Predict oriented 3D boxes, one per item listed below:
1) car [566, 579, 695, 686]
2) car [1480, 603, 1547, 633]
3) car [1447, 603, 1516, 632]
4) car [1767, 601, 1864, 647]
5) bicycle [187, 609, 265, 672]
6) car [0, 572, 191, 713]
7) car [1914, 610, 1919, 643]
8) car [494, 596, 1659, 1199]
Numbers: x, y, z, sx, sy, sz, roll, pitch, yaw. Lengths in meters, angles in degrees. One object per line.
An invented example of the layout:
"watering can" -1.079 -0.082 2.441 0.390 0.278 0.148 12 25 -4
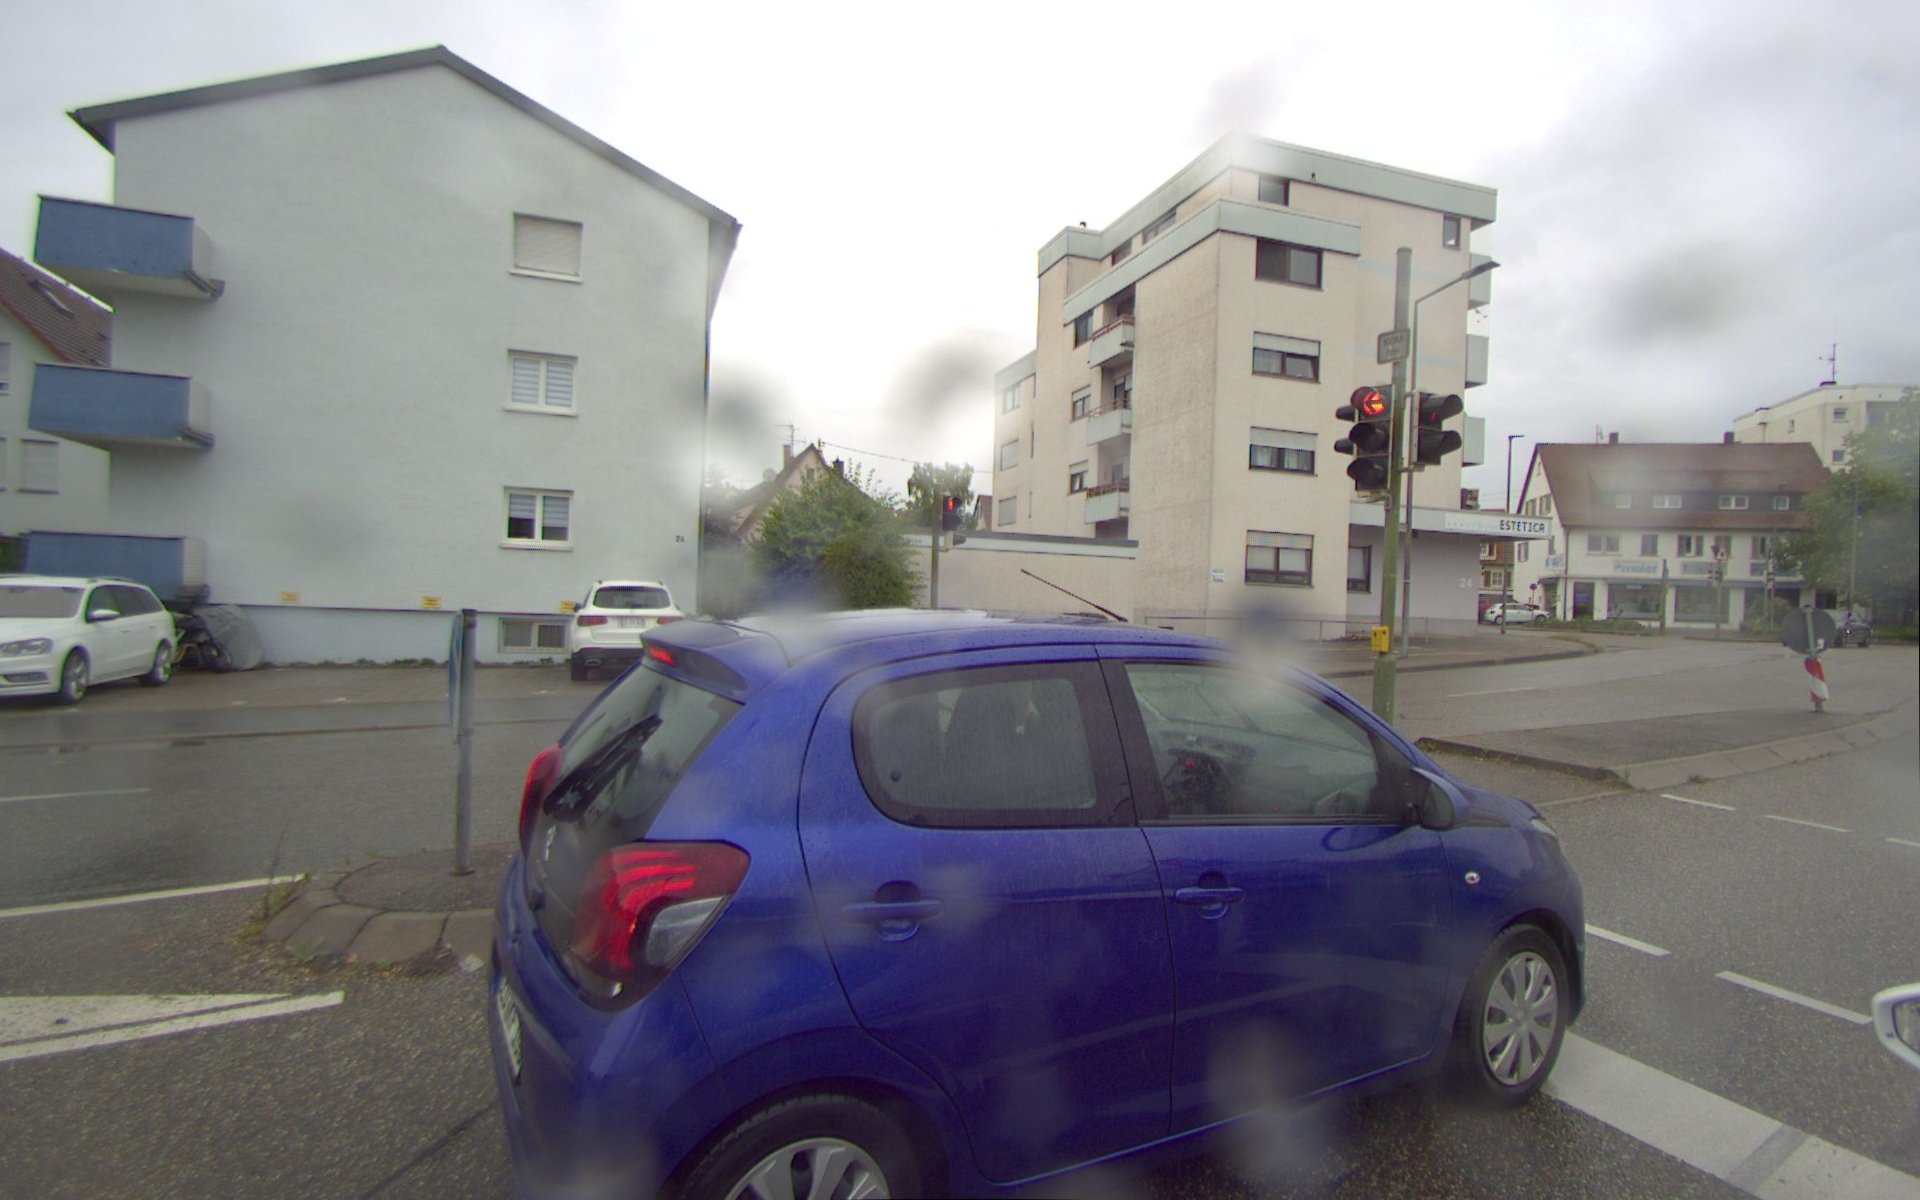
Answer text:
"car" -5.767 0.510 17.562 1.884 1.637 3.982 2 0 -19
"car" 37.918 1.238 68.882 3.611 1.946 1.889 2 0 14
"car" 37.210 1.243 71.712 3.987 1.868 1.889 2 0 14
"car" 33.932 0.937 39.993 1.963 1.646 4.532 2 0 28
"bicycle" -12.698 0.688 17.408 1.053 1.067 0.345 0 1 -30
"car" -11.485 0.457 12.493 1.854 1.480 4.732 1 -1 -23
"car" 46.820 1.286 47.172 3.956 1.532 1.956 2 0 -32
"car" 0.465 0.738 3.087 3.324 1.432 1.498 1 1 -30
